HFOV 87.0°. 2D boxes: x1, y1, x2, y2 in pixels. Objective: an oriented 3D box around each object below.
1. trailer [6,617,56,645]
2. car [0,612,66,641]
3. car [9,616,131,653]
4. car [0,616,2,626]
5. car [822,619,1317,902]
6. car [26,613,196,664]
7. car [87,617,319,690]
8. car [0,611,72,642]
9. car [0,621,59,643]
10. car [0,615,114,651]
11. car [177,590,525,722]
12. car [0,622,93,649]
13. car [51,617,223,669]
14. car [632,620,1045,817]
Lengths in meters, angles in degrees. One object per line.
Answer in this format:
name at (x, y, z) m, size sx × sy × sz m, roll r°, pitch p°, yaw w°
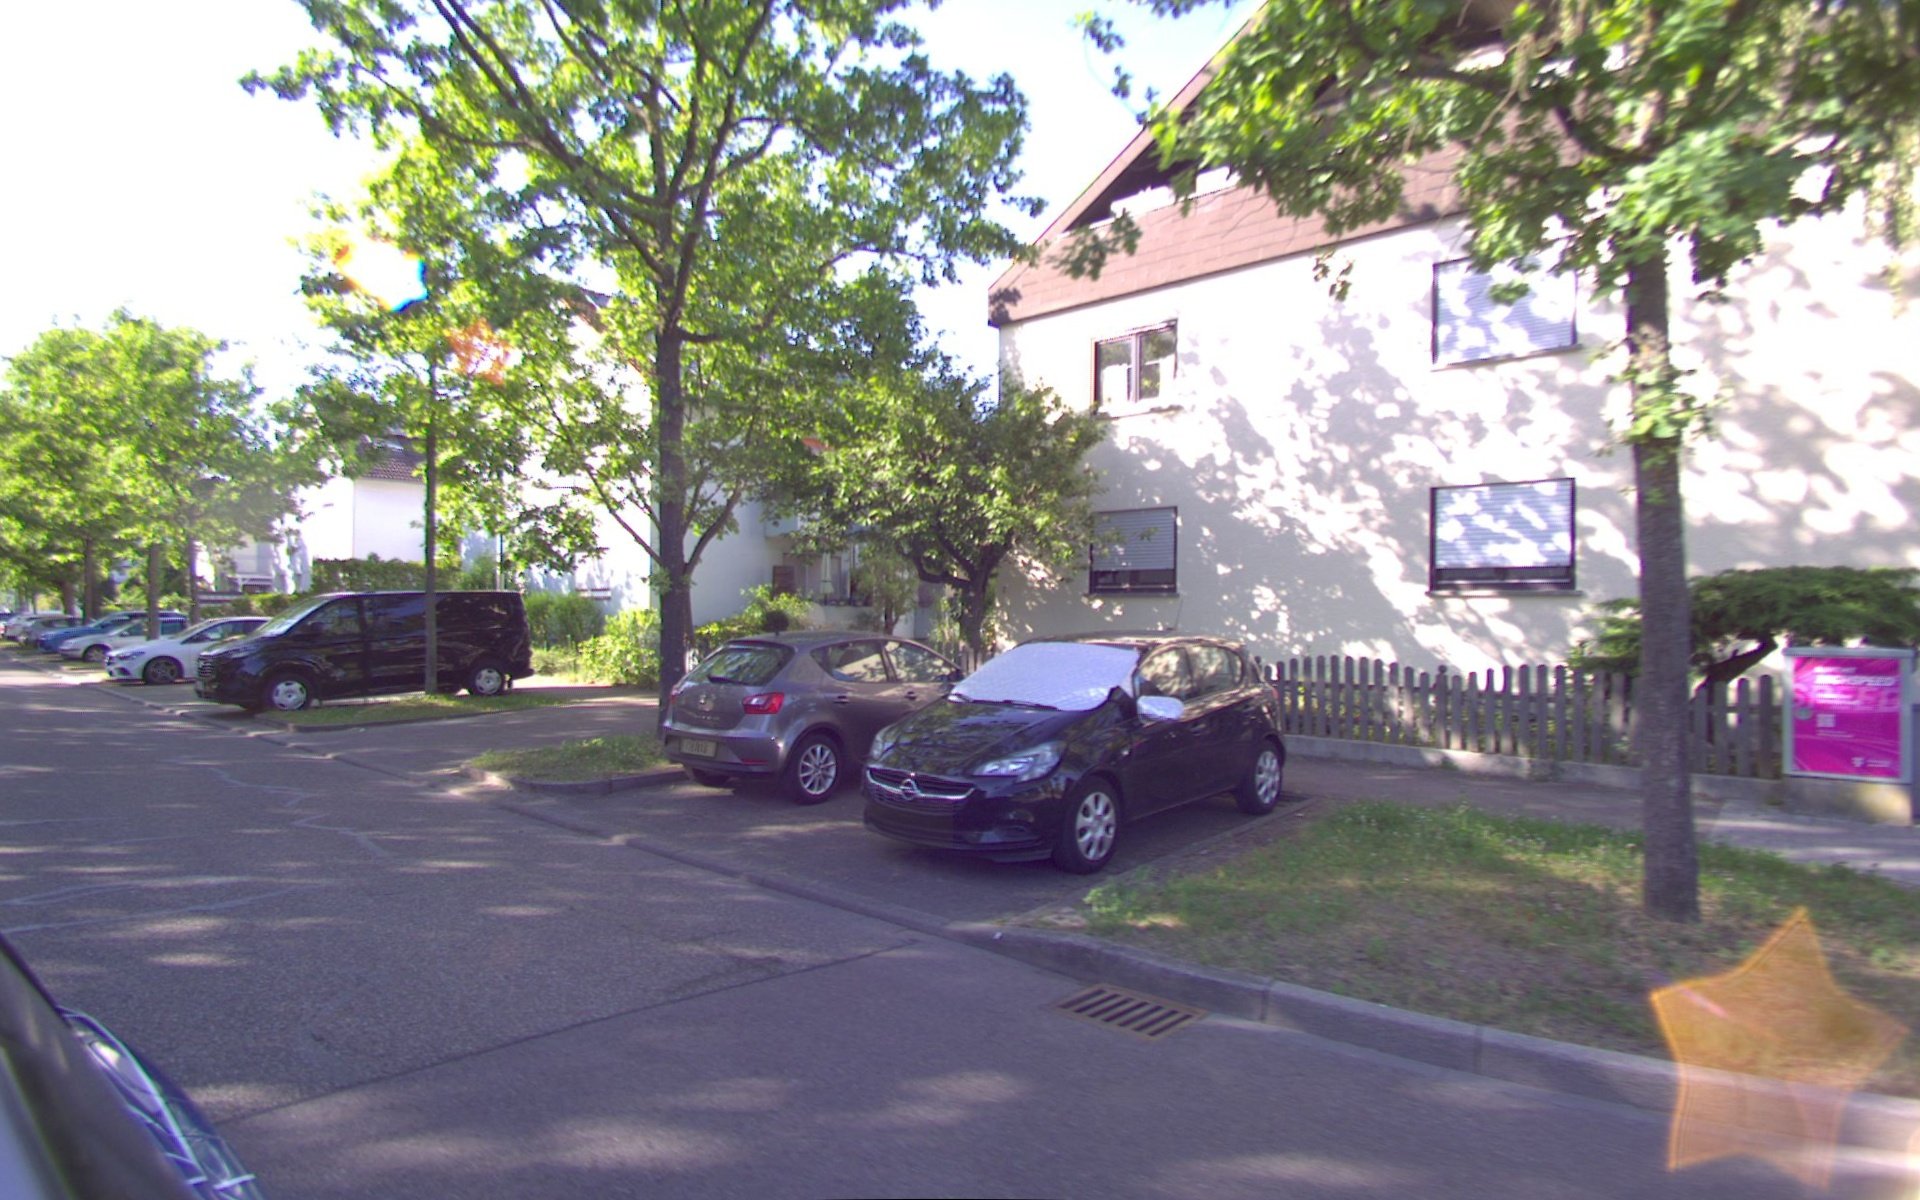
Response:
trailer at (-57.089, 1.918, 62.252) m, size 2.208 × 1.686 × 1.476 m, roll 1°, pitch -2°, yaw -42°
car at (-62.360, 1.741, 67.273) m, size 1.967 × 1.783 × 4.194 m, roll -1°, pitch 0°, yaw 42°
car at (-40.353, 1.532, 45.945) m, size 1.810 × 1.434 × 3.991 m, roll -1°, pitch 1°, yaw 42°
car at (-143.554, 3.077, 150.192) m, size 1.716 × 1.552 × 3.953 m, roll 1°, pitch -2°, yaw -40°
car at (1.009, 0.913, 7.507) m, size 1.713 × 1.470 × 3.815 m, roll -1°, pitch -1°, yaw 43°
car at (-30.012, 1.303, 35.877) m, size 1.938 × 1.643 × 4.473 m, roll -1°, pitch 0°, yaw 45°
car at (-18.056, 1.212, 24.289) m, size 1.769 × 1.489 × 4.229 m, roll -1°, pitch 0°, yaw 43°
car at (-60.617, 1.717, 65.725) m, size 1.999 × 1.959 × 4.191 m, roll -1°, pitch -2°, yaw 41°
car at (-67.440, 2.265, 72.260) m, size 1.836 × 1.511 × 4.428 m, roll -1°, pitch -2°, yaw 42°
car at (-44.230, 1.565, 49.559) m, size 4.139 × 1.579 × 1.793 m, roll -1°, pitch 0°, yaw -45°
car at (-10.234, 0.830, 17.330) m, size 2.017 × 1.931 × 4.729 m, roll -1°, pitch -1°, yaw 41°
car at (-51.331, 1.954, 56.630) m, size 4.160 × 1.483 × 1.692 m, roll 1°, pitch -2°, yaw -44°
car at (-26.526, 1.325, 32.728) m, size 1.647 × 1.503 × 4.137 m, roll -1°, pitch 0°, yaw 43°
car at (-1.004, 0.954, 9.805) m, size 1.771 × 1.430 × 3.779 m, roll -1°, pitch 0°, yaw 41°
